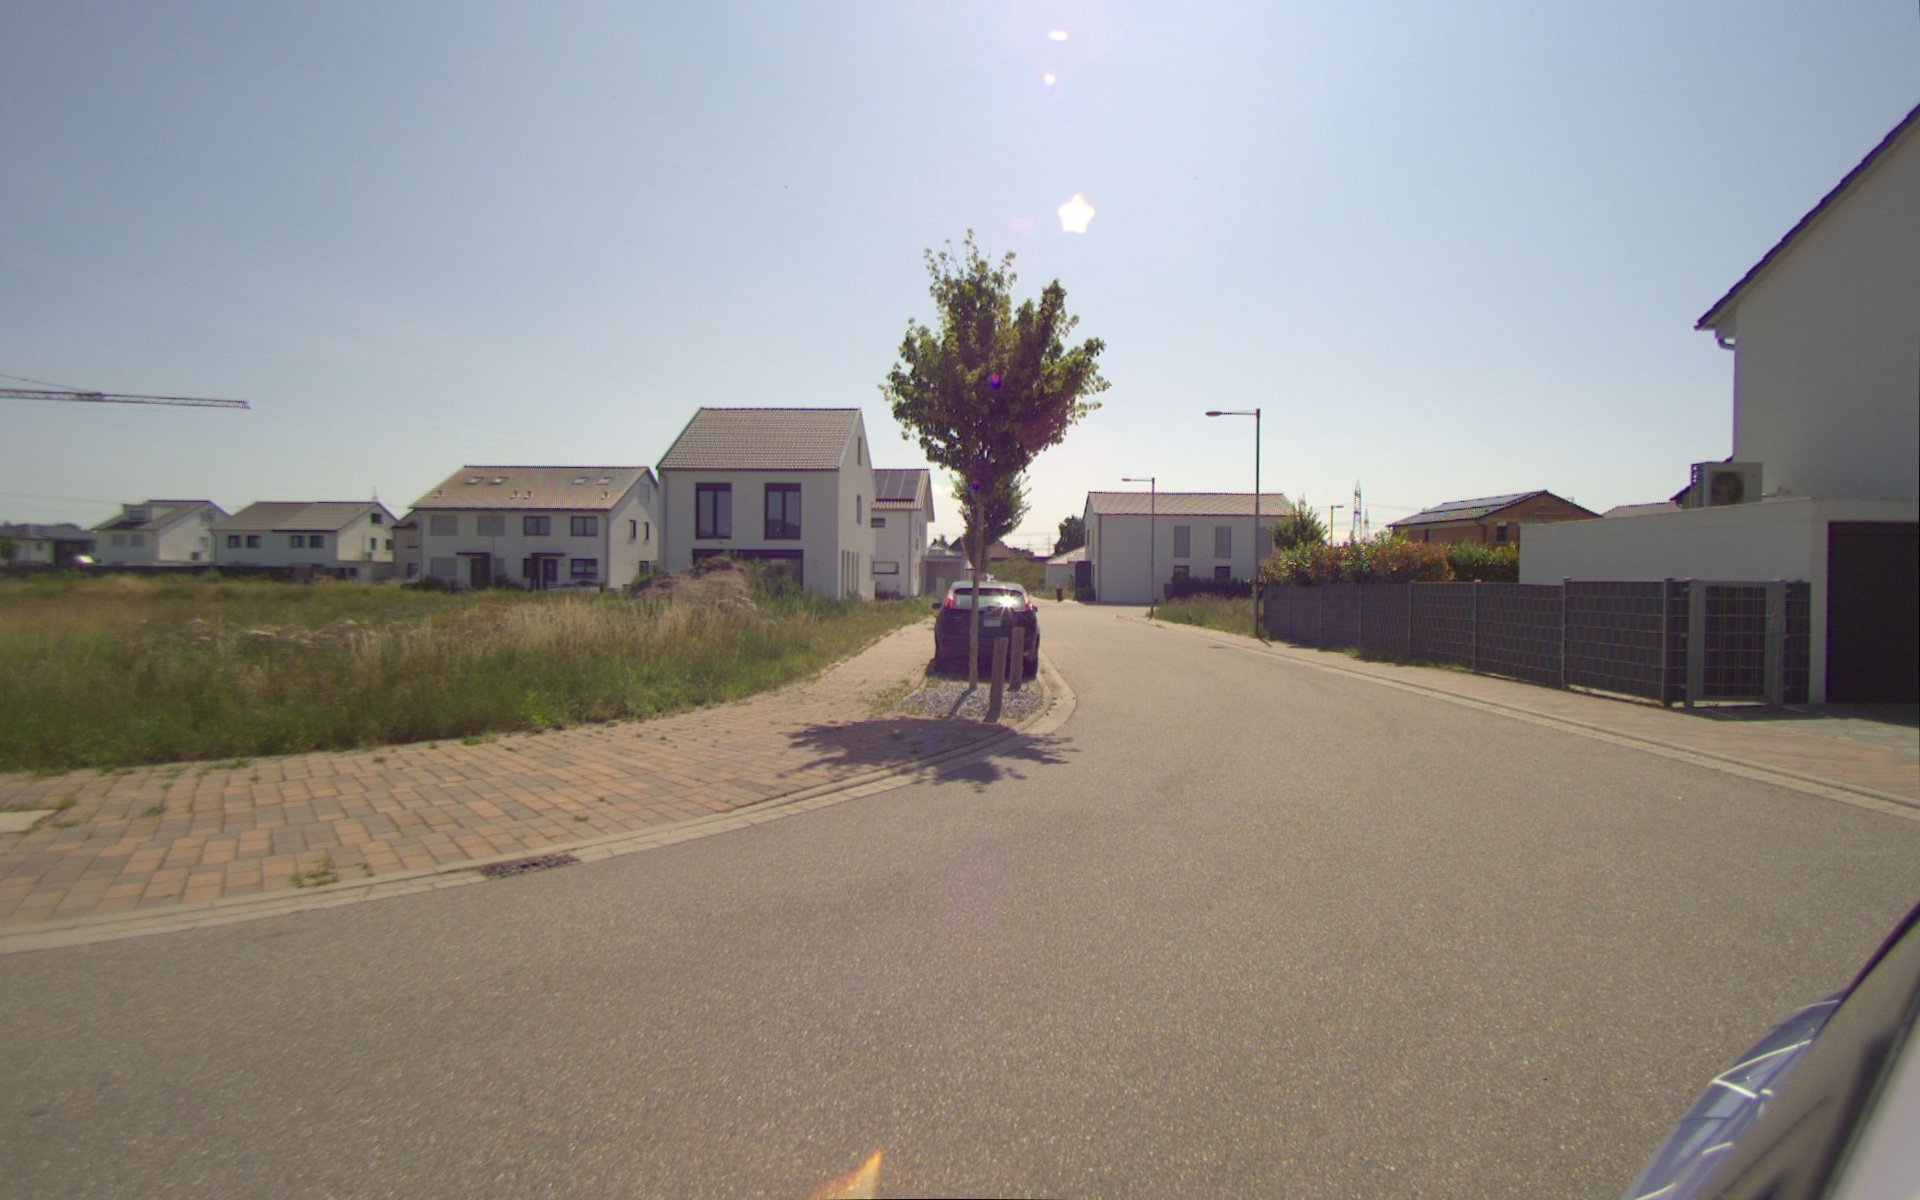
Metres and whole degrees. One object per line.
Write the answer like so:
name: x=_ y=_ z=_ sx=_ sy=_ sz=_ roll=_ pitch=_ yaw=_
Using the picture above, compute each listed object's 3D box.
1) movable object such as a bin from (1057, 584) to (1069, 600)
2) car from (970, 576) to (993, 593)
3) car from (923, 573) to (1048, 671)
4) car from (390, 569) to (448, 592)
movable object such as a bin: x=7.293 y=-0.554 z=71.514 sx=0.793 sy=1.112 sz=0.671 roll=1 pitch=1 yaw=4
car: x=1.904 y=-1.380 z=88.499 sx=1.890 sy=1.438 sz=4.419 roll=1 pitch=1 yaw=2
car: x=0.313 y=0.312 z=17.756 sx=1.813 sy=1.512 sz=4.197 roll=-1 pitch=1 yaw=-4
car: x=-39.486 y=-1.413 z=73.984 sx=1.784 sy=1.593 sz=3.993 roll=1 pitch=1 yaw=7
